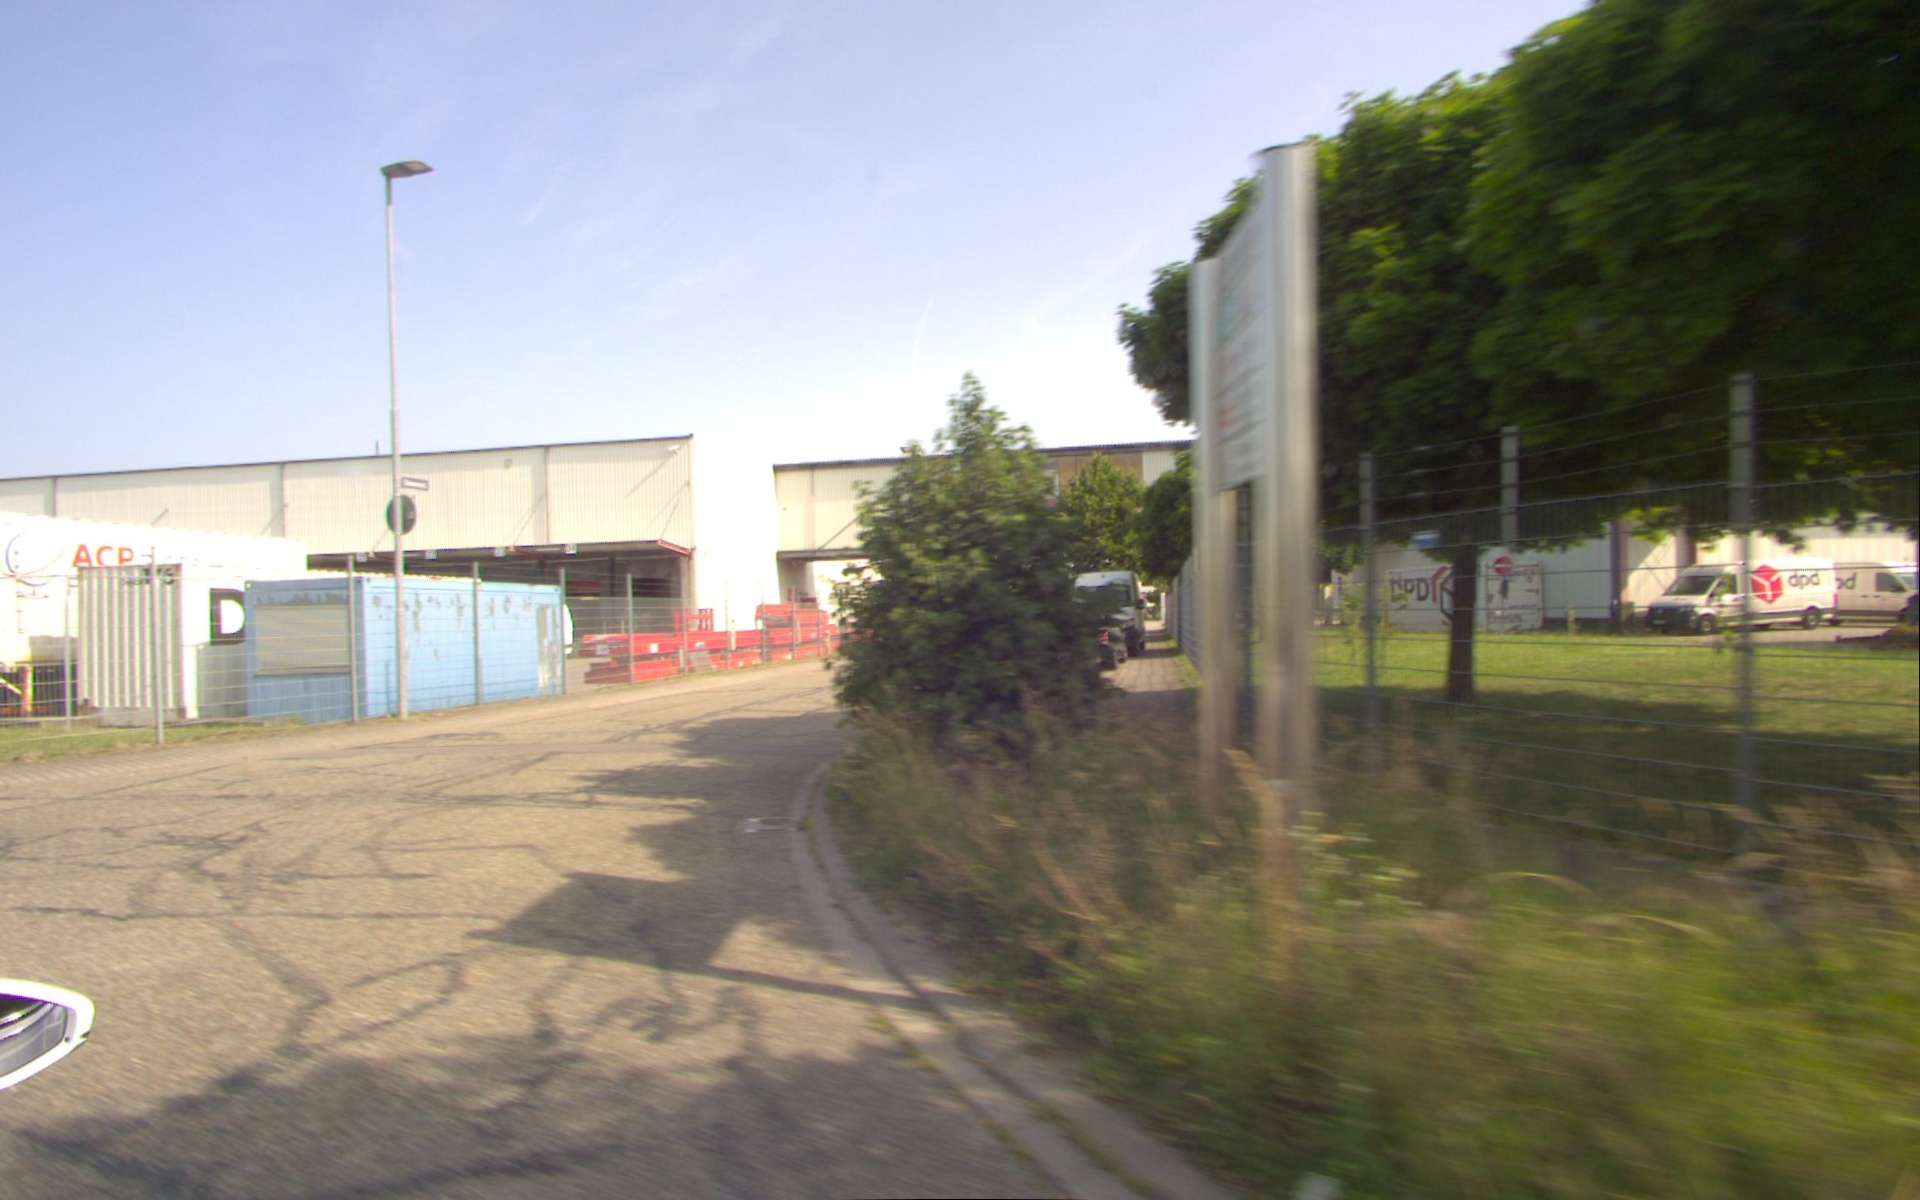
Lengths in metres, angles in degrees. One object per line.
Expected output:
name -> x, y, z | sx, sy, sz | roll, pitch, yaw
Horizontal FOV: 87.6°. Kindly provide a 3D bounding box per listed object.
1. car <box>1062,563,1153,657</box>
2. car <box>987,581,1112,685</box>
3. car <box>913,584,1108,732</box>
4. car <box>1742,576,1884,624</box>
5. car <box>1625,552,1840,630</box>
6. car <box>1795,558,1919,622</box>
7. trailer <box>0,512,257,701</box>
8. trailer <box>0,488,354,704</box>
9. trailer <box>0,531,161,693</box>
car -> 4.829, 0.322, 31.830 | 2.167, 2.515, 6.842 | -4, -1, 13
car -> 1.825, 0.592, 19.022 | 1.843, 1.646, 4.266 | -4, -1, 11
car -> 0.821, 0.672, 13.035 | 1.697, 1.543, 3.957 | -4, -1, 14
car -> 37.662, -0.004, 44.411 | 1.894, 1.990, 4.846 | -1, 1, -5
car -> 27.969, -0.329, 36.322 | 6.573, 2.551, 2.173 | -2, 0, -8
car -> 35.457, -0.411, 38.798 | 1.894, 2.319, 4.846 | -1, 1, -5
trailer -> -21.016, 0.151, 22.871 | 2.723, 3.945, 8.557 | -1, 0, 11
trailer -> -18.056, 0.042, 22.136 | 2.724, 3.943, 8.559 | -3, -1, 11
trailer -> -23.960, 0.301, 23.300 | 2.737, 3.809, 8.758 | -2, -1, 9
